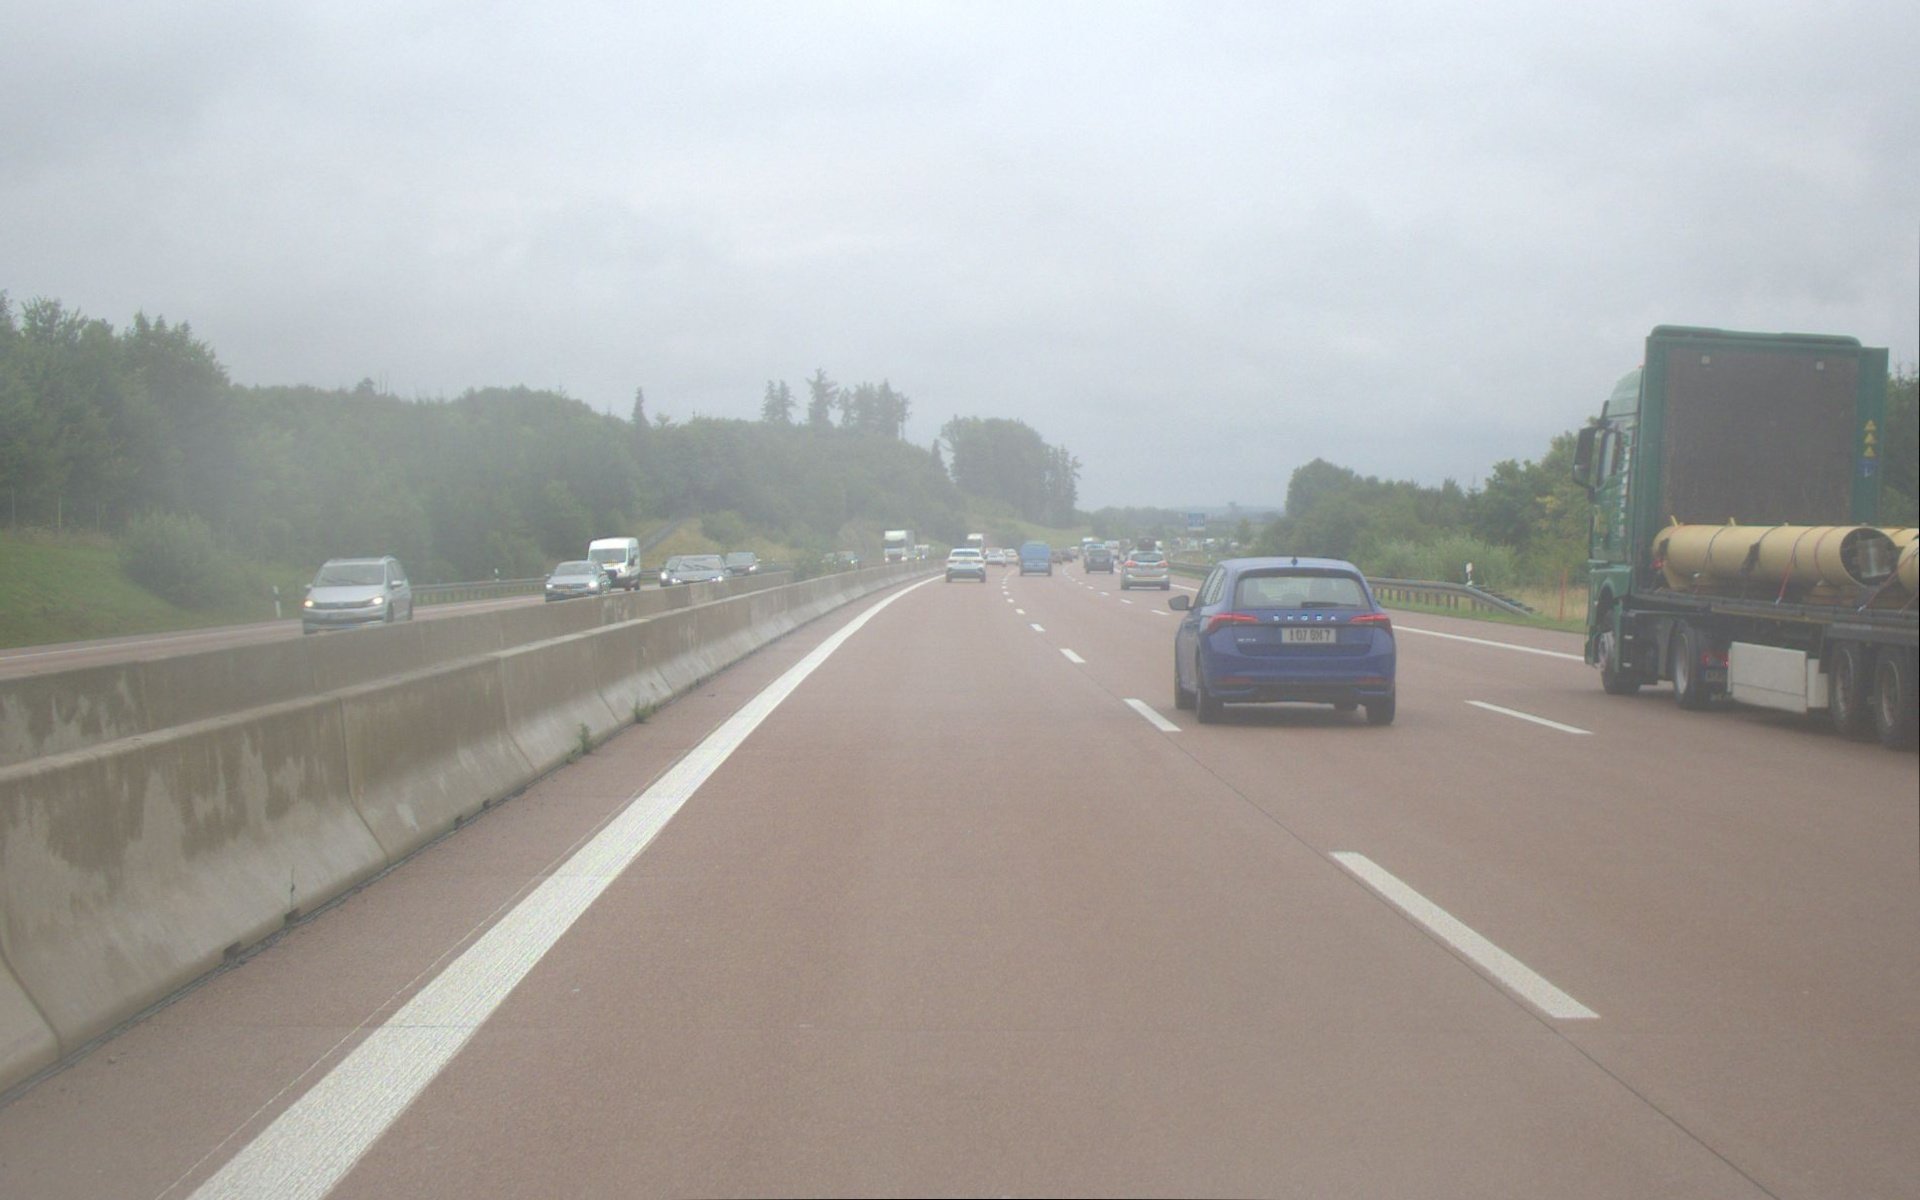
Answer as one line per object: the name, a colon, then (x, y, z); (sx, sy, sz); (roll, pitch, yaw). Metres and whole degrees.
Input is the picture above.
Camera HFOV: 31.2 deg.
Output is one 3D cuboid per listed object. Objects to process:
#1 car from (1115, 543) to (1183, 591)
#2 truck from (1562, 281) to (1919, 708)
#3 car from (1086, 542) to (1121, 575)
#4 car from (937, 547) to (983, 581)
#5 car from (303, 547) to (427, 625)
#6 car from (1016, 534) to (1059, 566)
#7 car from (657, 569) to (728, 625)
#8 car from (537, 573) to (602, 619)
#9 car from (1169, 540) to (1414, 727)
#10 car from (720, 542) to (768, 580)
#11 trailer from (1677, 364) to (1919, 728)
car: (7.328, -1.260, 133.859); (2.322, 1.744, 4.877); (1, 0, 0)
truck: (8.366, -0.967, 35.641); (2.897, 3.951, 6.989); (1, 0, -1)
car: (9.138, -2.633, 219.821); (1.993, 2.007, 4.000); (1, 0, -1)
car: (-0.023, -1.653, 157.743); (1.874, 1.439, 4.877); (1, 0, -3)
car: (-12.549, -0.316, 72.780); (1.788, 1.551, 4.866); (-2, 1, -1)
car: (4.514, -2.893, 200.140); (2.322, 1.744, 4.877); (1, 0, 0)
car: (-8.475, -0.079, 109.359); (1.857, 1.701, 6.164); (1, 0, -1)
car: (-13.012, -0.156, 114.780); (1.649, 1.385, 4.811); (-3, 1, -1)
car: (2.947, 0.295, 31.311); (1.771, 1.559, 4.146); (1, 0, 0)
car: (-10.488, -1.903, 166.968); (1.993, 1.820, 4.687); (0, 1, 0)
trailer: (8.444, -0.367, 27.602); (2.881, 2.666, 11.398); (1, 0, 0)
